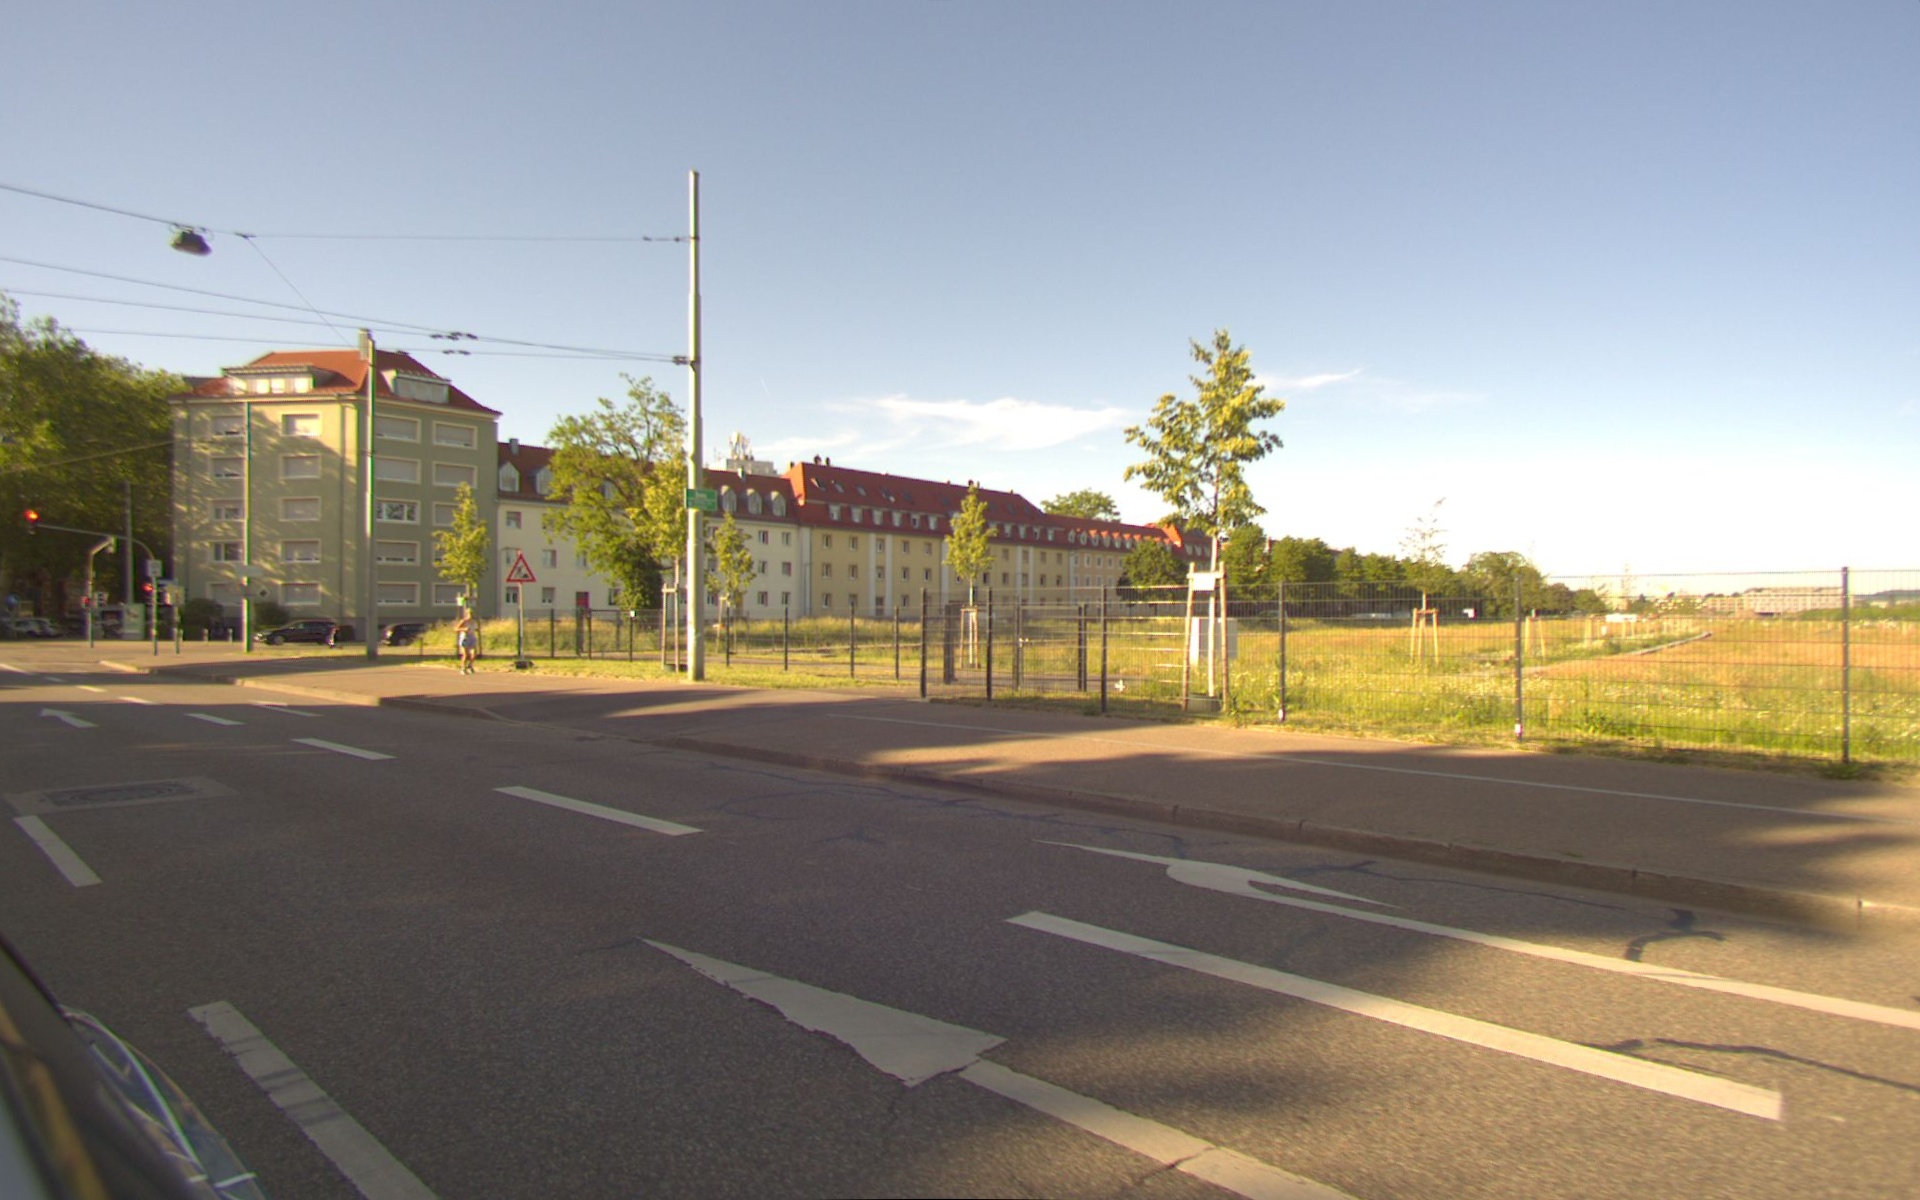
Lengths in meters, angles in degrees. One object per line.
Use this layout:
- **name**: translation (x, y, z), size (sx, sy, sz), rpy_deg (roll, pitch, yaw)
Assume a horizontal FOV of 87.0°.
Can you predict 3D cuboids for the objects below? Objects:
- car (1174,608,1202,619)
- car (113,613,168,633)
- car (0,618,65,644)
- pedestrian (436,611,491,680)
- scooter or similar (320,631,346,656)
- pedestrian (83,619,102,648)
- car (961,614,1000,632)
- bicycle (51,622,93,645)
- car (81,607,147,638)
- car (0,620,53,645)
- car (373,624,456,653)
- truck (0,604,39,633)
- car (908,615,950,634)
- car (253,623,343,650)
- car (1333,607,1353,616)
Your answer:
- **car**: translation (31.400, 1.839, 139.119), size (1.942, 1.505, 4.149), rpy_deg (-3, -3, 42)
- **car**: translation (-82.528, 2.297, 101.973), size (3.932, 1.851, 1.822), rpy_deg (-1, 1, -27)
- **car**: translation (-68.045, 2.256, 73.608), size (4.078, 1.652, 1.780), rpy_deg (-1, 1, -27)
- **pedestrian**: translation (-12.285, 1.102, 25.035), size (1.181, 1.641, 0.823), rpy_deg (-1, 0, 44)
- **scooter or similar**: translation (-31.576, 2.196, 50.987), size (0.586, 1.153, 1.269), rpy_deg (0, -6, -8)
- **pedestrian**: translation (-60.776, 2.314, 70.883), size (0.685, 1.978, 0.930), rpy_deg (-1, 1, -19)
- **car**: translation (1.973, 2.214, 96.987), size (1.698, 1.542, 3.852), rpy_deg (-6, -4, 38)
- **bicycle**: translation (-60.896, 2.286, 69.451), size (2.017, 1.472, 0.728), rpy_deg (2, 1, -20)
- **car**: translation (-78.327, 2.075, 93.782), size (4.345, 2.646, 1.976), rpy_deg (-1, 1, -27)
- **car**: translation (-67.047, 2.302, 71.475), size (4.078, 1.652, 1.780), rpy_deg (-1, 1, -27)
- **car**: translation (-31.474, 2.197, 58.436), size (1.698, 1.542, 3.852), rpy_deg (-6, -4, 38)
- **truck**: translation (-106.943, 2.104, 114.466), size (2.304, 2.994, 8.057), rpy_deg (-1, 1, -30)
- **car**: translation (-2.771, 2.200, 91.633), size (1.698, 1.542, 3.852), rpy_deg (-6, -4, 38)
- **car**: translation (-39.409, 2.182, 60.289), size (1.942, 1.505, 4.149), rpy_deg (-3, -3, 42)
- **car**: translation (68.827, 2.138, 181.850), size (1.942, 1.505, 4.149), rpy_deg (-3, -3, 42)
